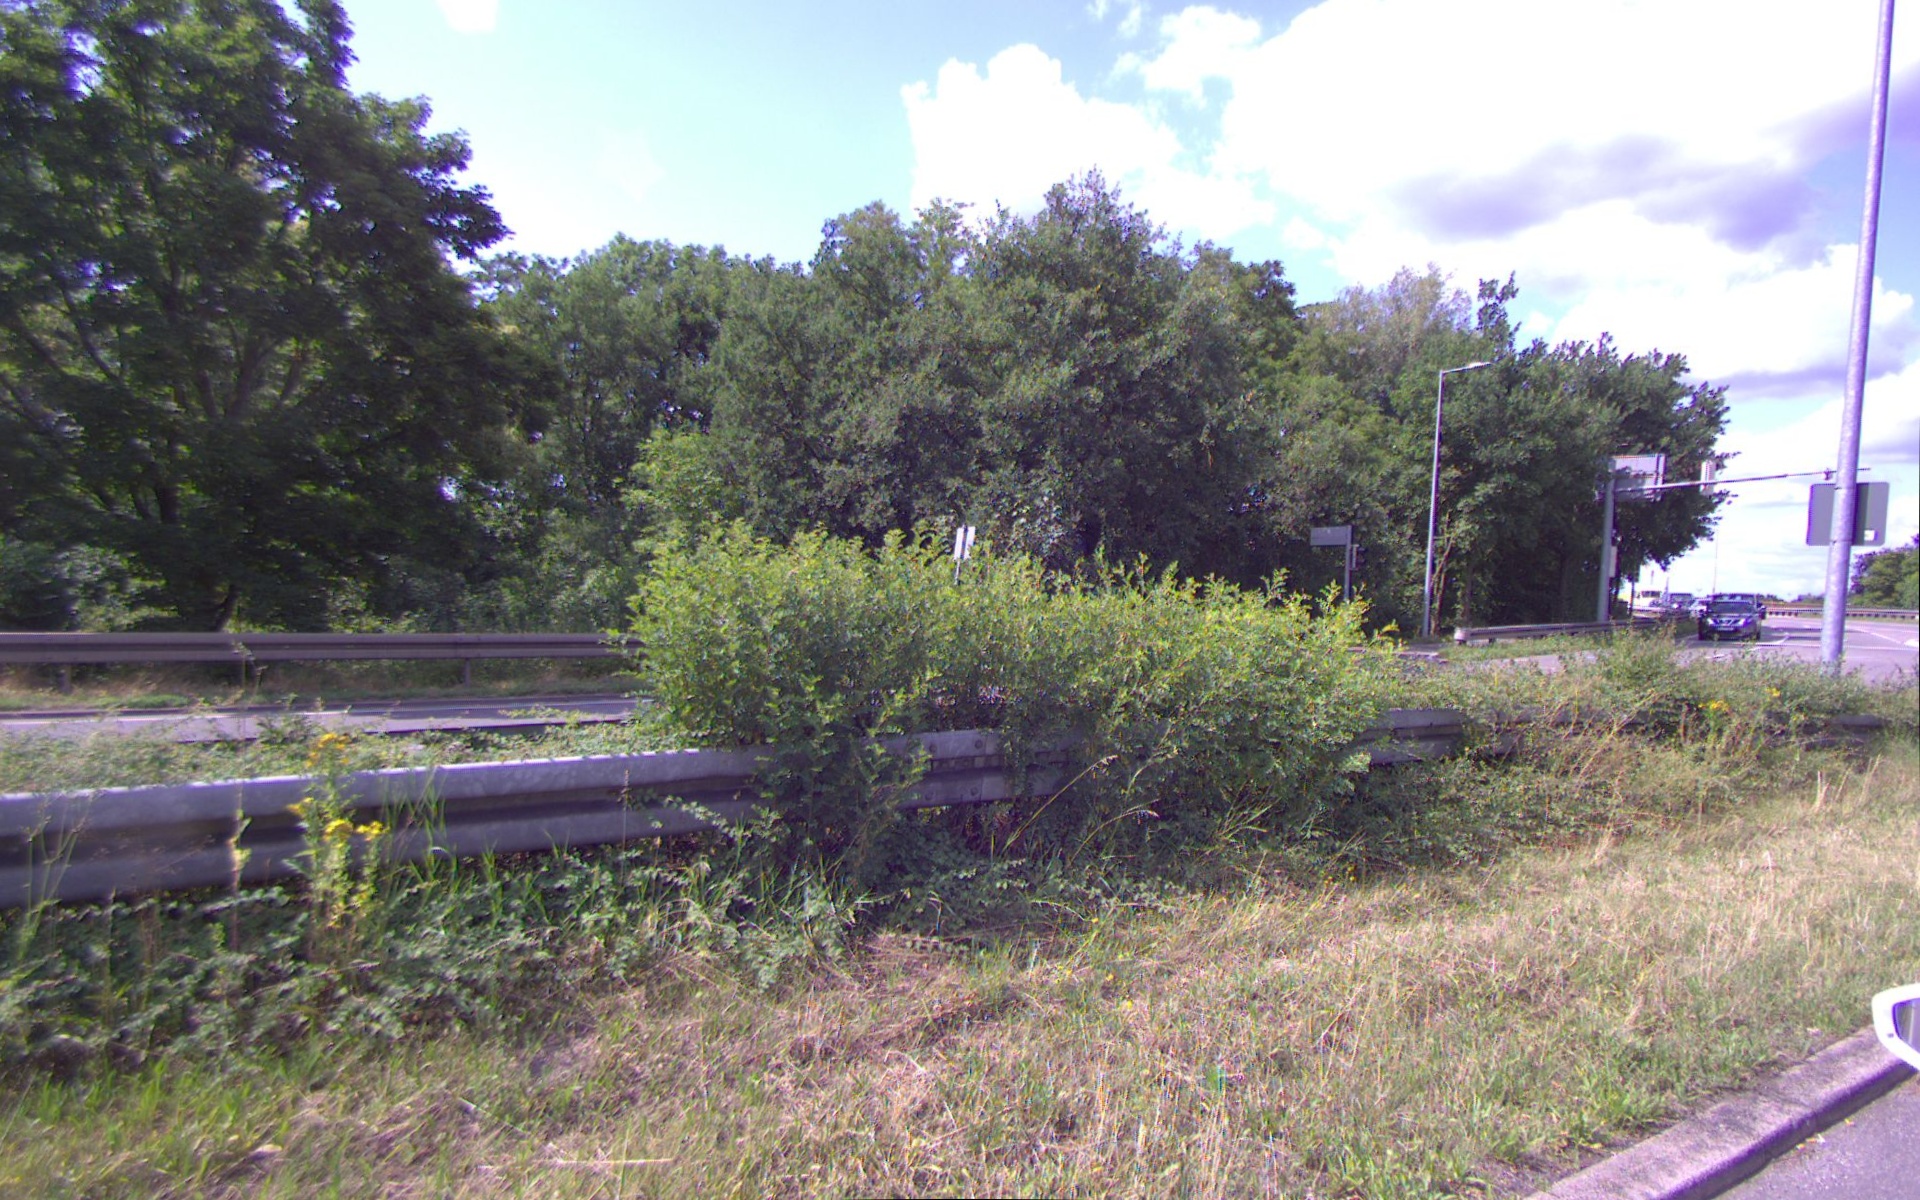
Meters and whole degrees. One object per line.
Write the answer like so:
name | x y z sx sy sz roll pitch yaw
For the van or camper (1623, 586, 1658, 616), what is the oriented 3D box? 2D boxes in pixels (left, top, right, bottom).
van or camper | 64.599 0.069 95.395 1.963 2.719 6.852 2 1 28

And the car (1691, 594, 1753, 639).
car | 30.684 0.687 40.416 1.816 1.639 3.982 2 0 39

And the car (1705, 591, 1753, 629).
car | 39.940 0.489 52.131 1.820 1.826 4.307 2 1 39

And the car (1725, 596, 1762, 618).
car | 59.967 0.527 76.942 1.706 1.516 4.037 2 1 31

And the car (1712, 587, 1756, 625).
car | 44.846 0.340 58.266 1.819 2.128 4.311 2 1 36

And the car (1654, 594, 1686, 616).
car | 58.013 0.408 82.084 1.817 1.728 4.316 2 1 32
